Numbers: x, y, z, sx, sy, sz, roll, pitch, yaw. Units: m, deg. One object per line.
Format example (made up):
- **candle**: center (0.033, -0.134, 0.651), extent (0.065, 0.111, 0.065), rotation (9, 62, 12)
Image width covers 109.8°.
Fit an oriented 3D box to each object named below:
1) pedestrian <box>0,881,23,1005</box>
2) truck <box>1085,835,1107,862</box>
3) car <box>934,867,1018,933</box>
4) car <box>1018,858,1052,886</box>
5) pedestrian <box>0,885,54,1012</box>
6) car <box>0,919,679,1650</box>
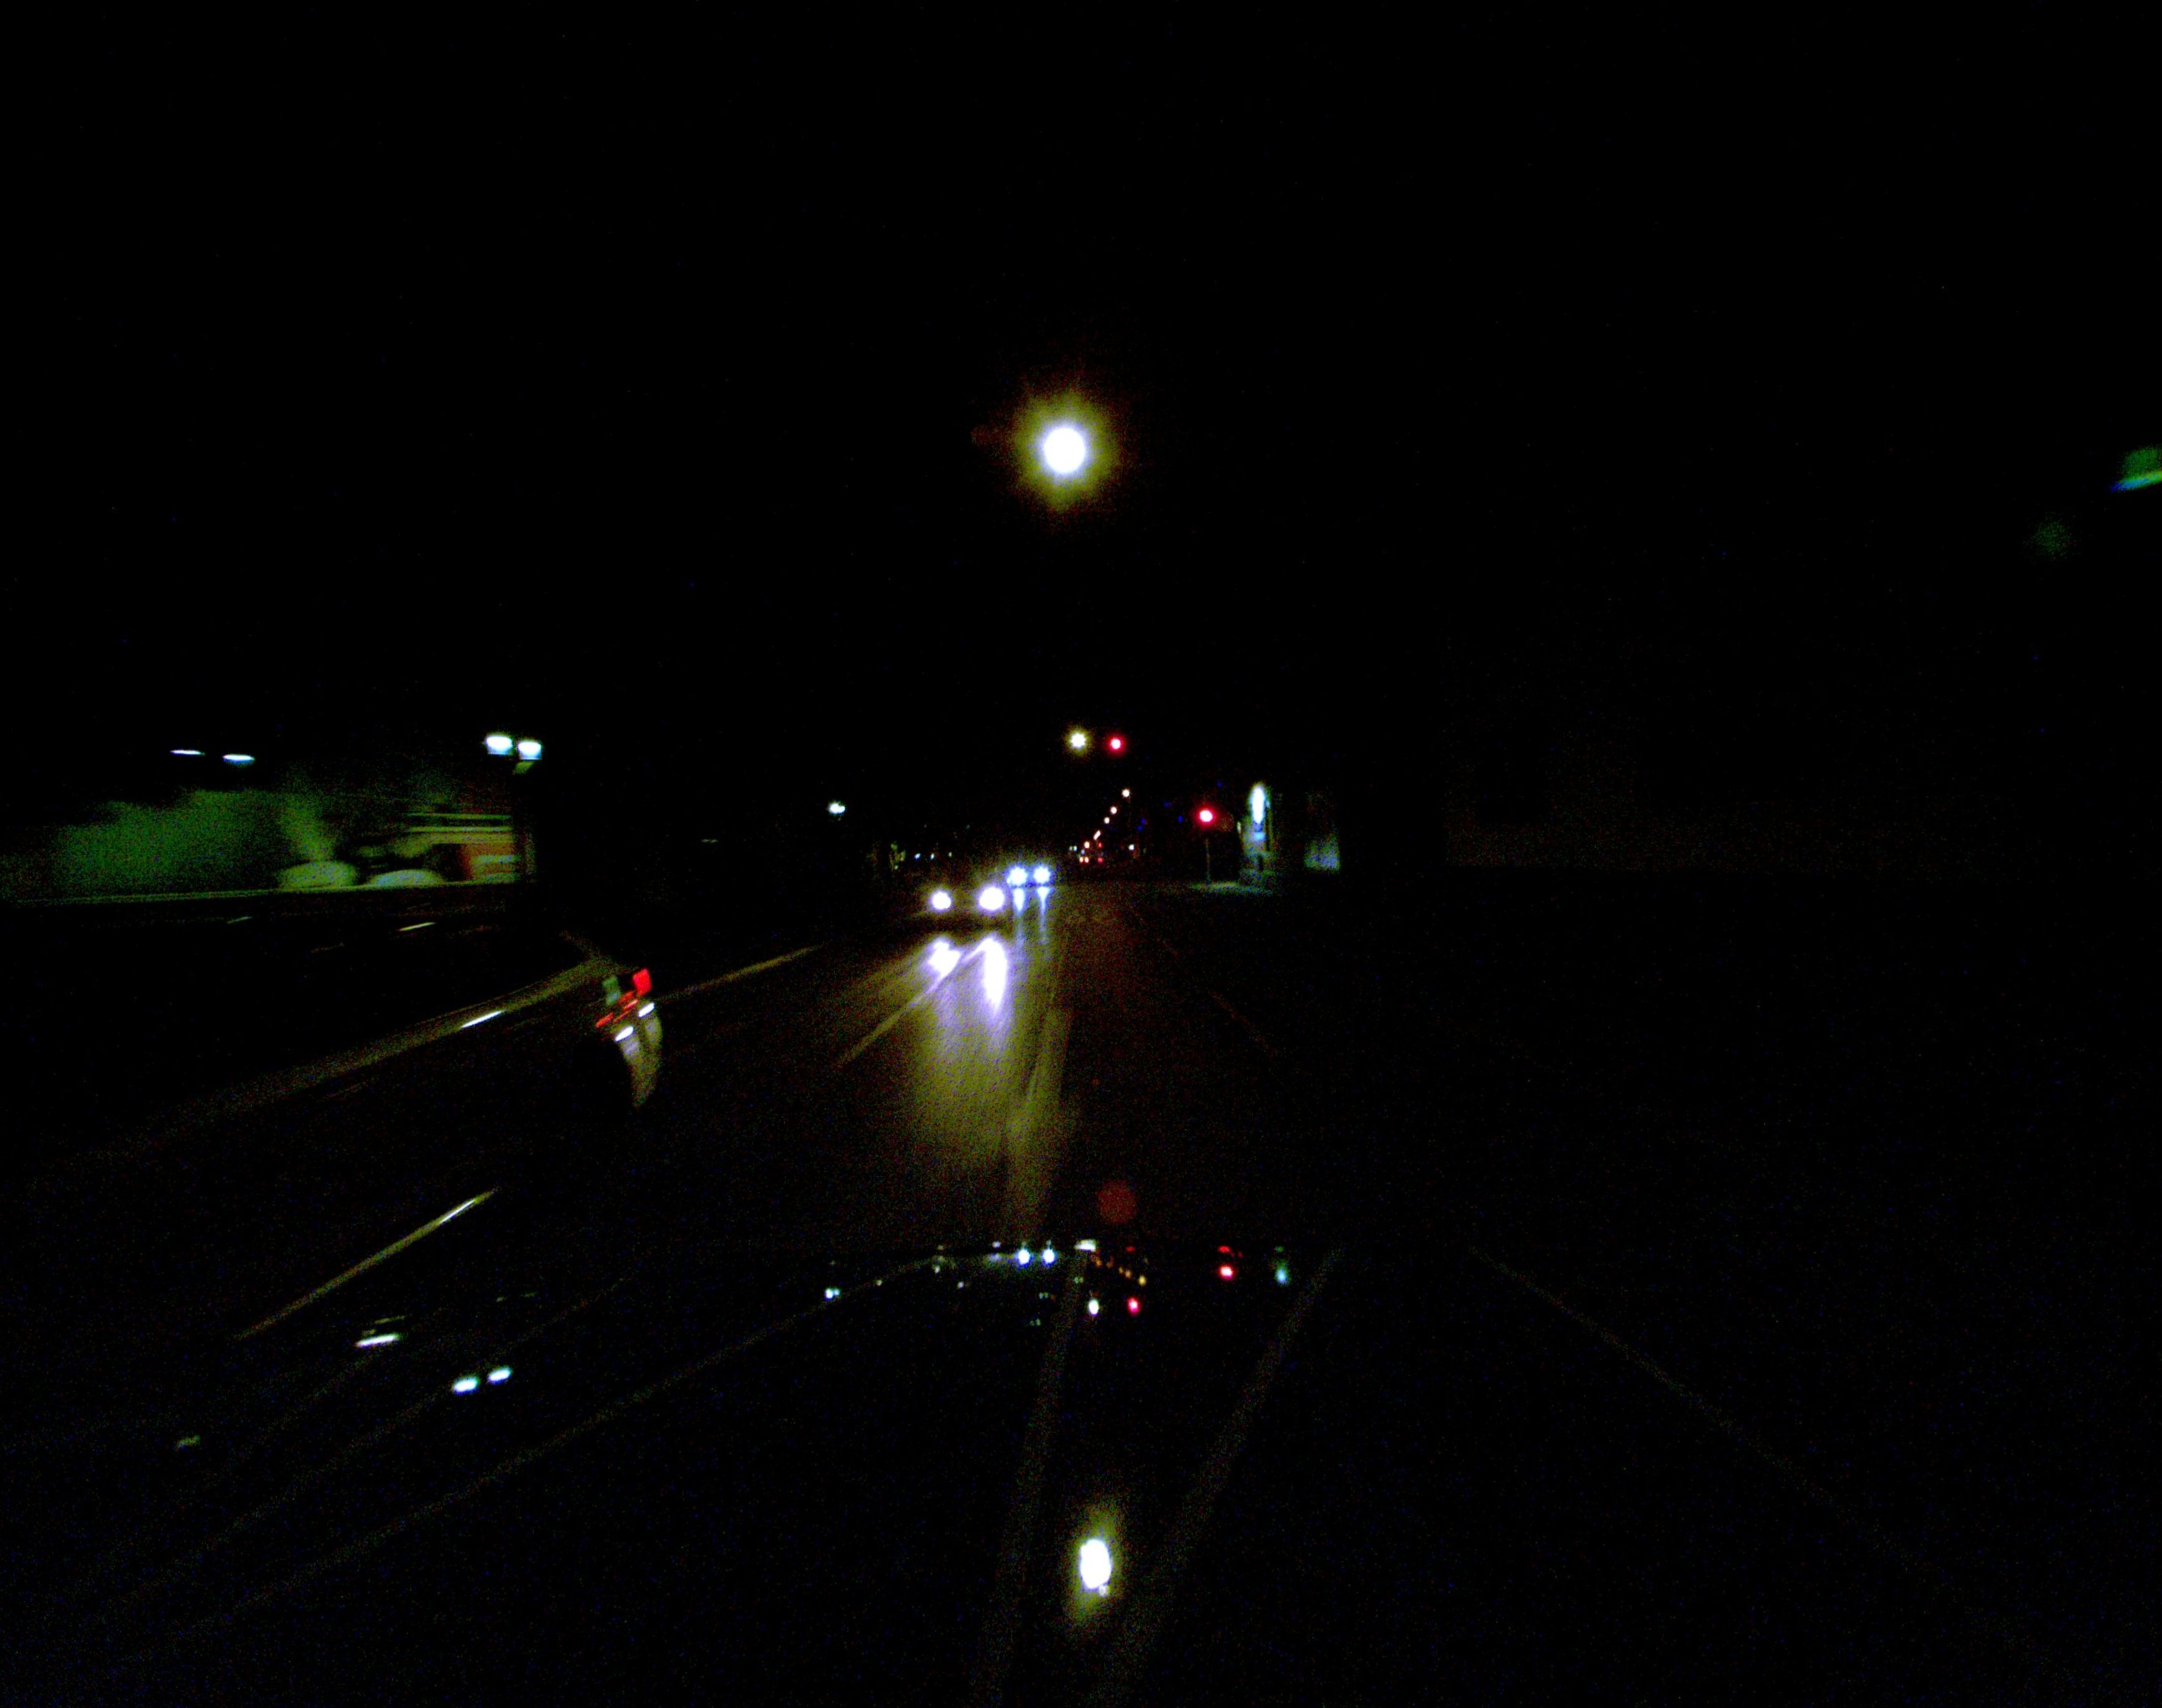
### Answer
- **pedestrian**: center (-15.830, 1.281, 10.611), extent (0.721, 1.778, 0.970), rotation (-1, 0, 1)
- **truck**: center (2.643, -0.994, 139.479), extent (3.517, 4.557, 9.040), rotation (-3, 0, 0)
- **car**: center (-2.644, 1.128, 19.976), extent (1.634, 1.430, 3.840), rotation (-2, 0, 0)
- **car**: center (-2.664, 1.044, 44.947), extent (1.729, 1.454, 4.000), rotation (-3, 0, 0)
- **pedestrian**: center (-15.036, 1.292, 10.339), extent (0.737, 1.707, 0.985), rotation (-1, 0, 1)
- **car**: center (-3.318, 1.123, 2.275), extent (1.729, 1.421, 4.498), rotation (-3, 0, 1)
